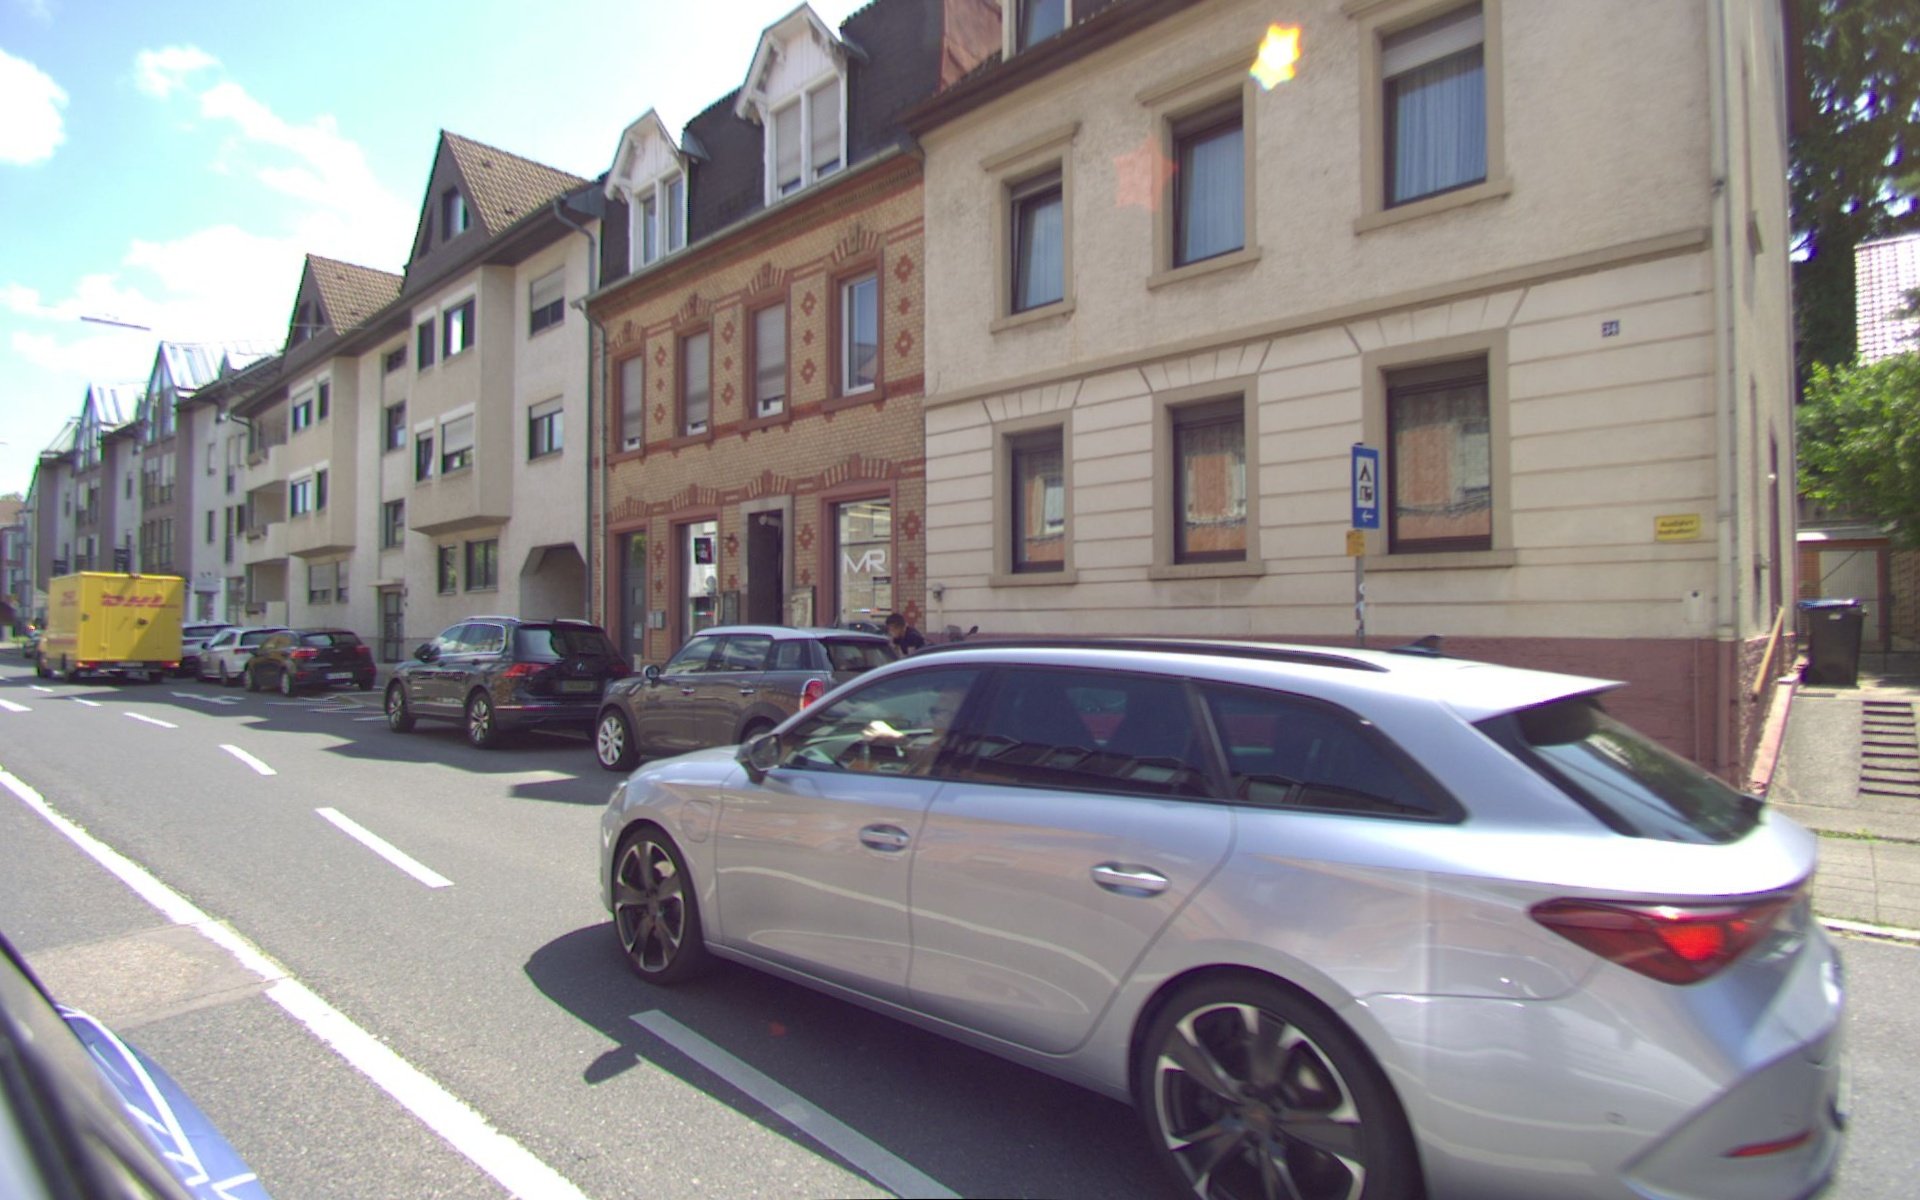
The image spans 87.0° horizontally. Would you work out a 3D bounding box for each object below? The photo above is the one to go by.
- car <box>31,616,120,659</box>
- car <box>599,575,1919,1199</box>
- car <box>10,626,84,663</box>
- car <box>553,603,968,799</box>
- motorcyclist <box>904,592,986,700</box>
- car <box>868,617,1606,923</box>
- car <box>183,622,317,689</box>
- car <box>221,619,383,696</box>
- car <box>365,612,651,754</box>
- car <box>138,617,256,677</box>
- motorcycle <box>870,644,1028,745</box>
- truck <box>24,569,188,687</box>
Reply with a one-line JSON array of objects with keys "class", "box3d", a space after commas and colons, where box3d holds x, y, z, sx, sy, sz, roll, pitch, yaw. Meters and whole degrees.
[{"class": "car", "box3d": [-34.369, 1.405, 39.289, 4.381, 1.500, 1.822, -1, 2, 39]}, {"class": "car", "box3d": [0.619, 0.747, 3.543, 4.315, 1.431, 1.771, -1, -3, 43]}, {"class": "car", "box3d": [-41.260, 1.976, 45.687, 4.966, 1.458, 1.821, -1, 2, 41]}, {"class": "car", "box3d": [-2.221, 0.898, 10.490, 4.500, 1.609, 1.820, -1, -4, 41]}, {"class": "motorcyclist", "box3d": [-0.187, 0.546, 12.383, 0.711, 1.257, 0.711, -1, -1, 41]}, {"class": "car", "box3d": [1.641, 0.874, 6.898, 4.497, 1.433, 1.822, -1, -4, 39]}, {"class": "car", "box3d": [-18.796, 1.388, 26.729, 4.383, 1.499, 1.821, -1, 2, 41]}, {"class": "car", "box3d": [-15.174, 1.244, 23.250, 4.498, 1.499, 1.822, -1, 2, 39]}, {"class": "car", "box3d": [-6.263, 1.003, 13.778, 4.500, 1.609, 1.820, -1, -3, 41]}, {"class": "car", "box3d": [-23.099, 1.354, 30.594, 4.382, 1.607, 1.822, -1, 2, 39]}, {"class": "motorcycle", "box3d": [-0.158, 1.111, 12.380, 1.871, 1.087, 0.836, -1, -1, 42]}, {"class": "truck", "box3d": [-23.127, 0.744, 27.249, 7.560, 2.792, 2.202, -1, -3, 41]}]
